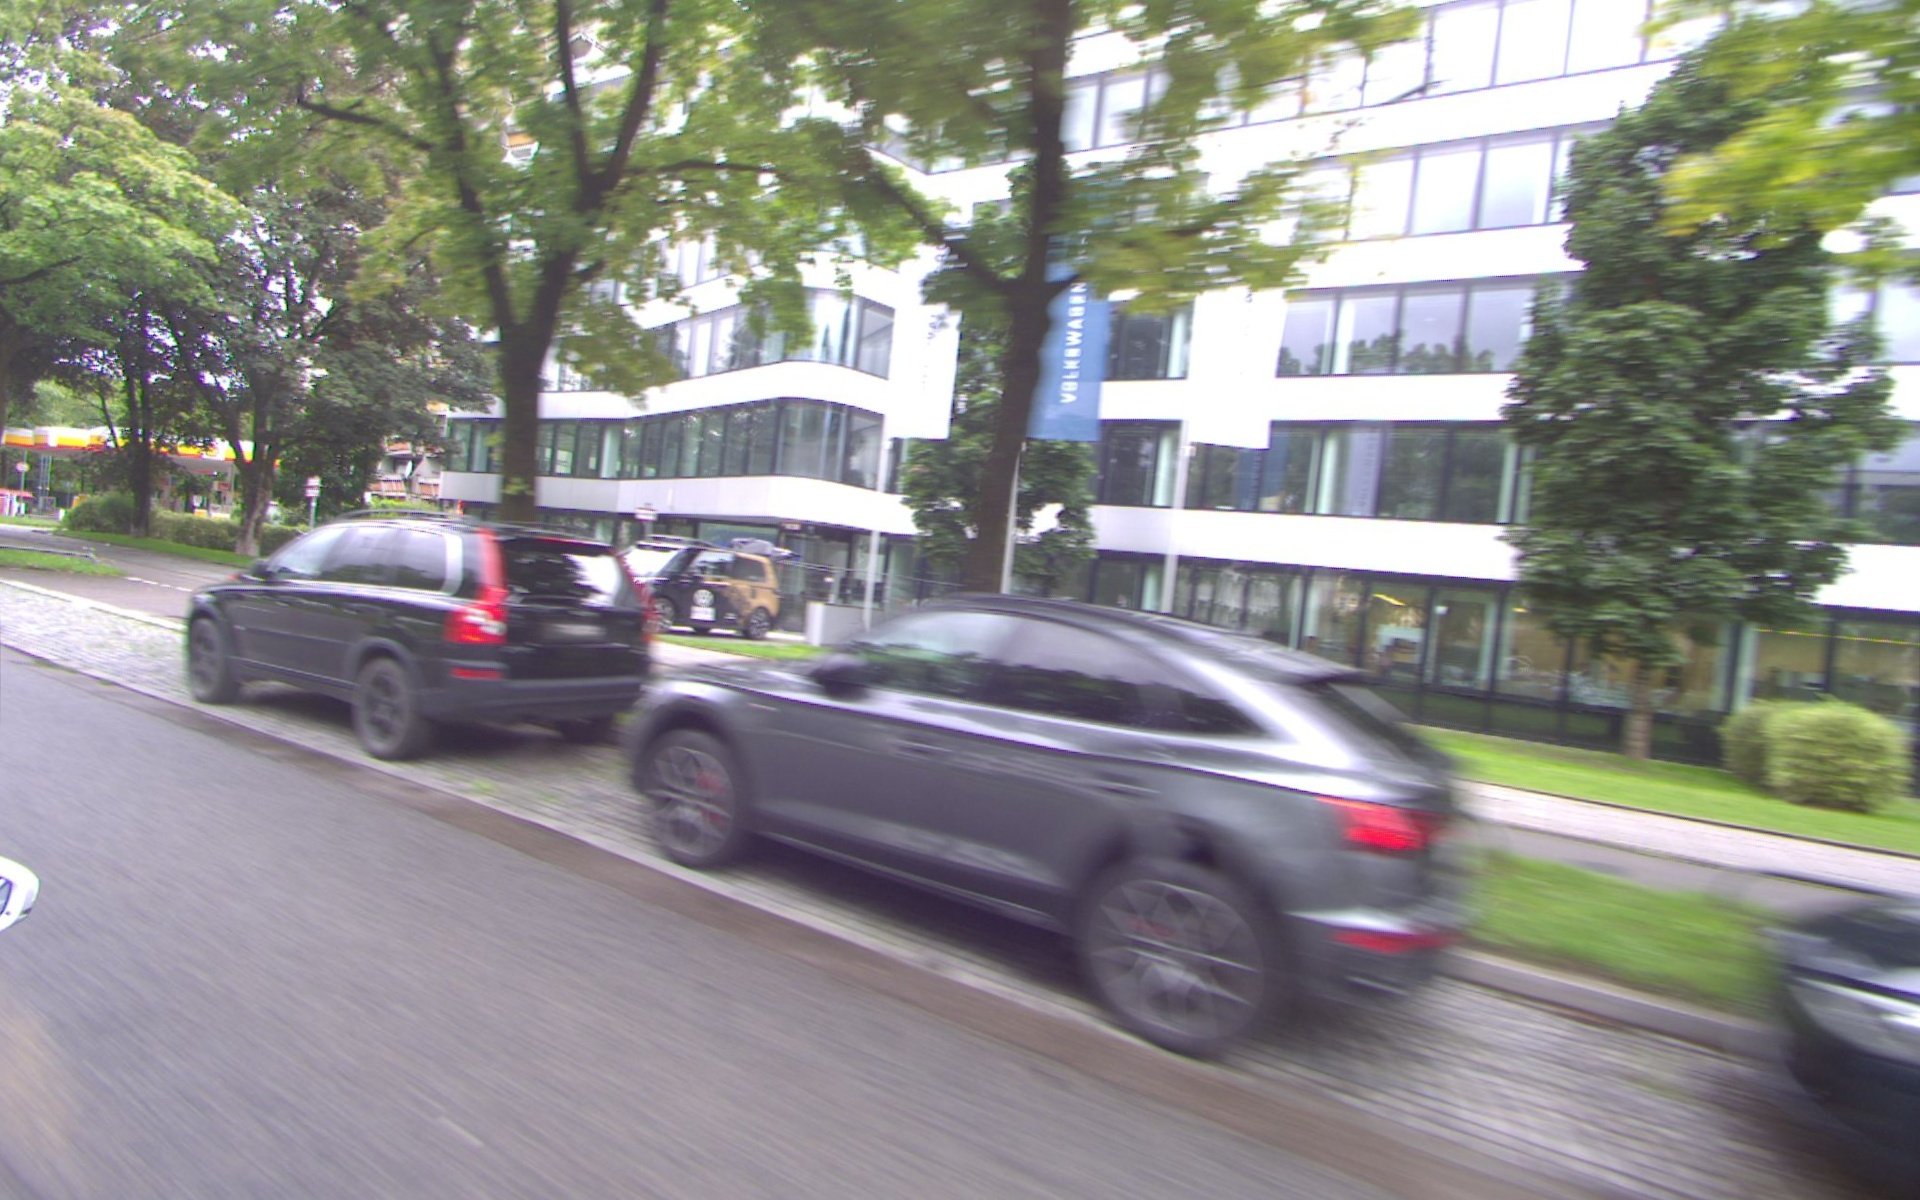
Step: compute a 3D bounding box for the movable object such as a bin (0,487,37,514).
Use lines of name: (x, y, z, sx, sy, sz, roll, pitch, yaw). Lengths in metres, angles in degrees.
movable object such as a bin: (-64.196, -6.768, 68.052, 1.807, 1.505, 2.062, 7, 1, 32)

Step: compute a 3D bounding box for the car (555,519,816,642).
car: (-5.821, -0.322, 22.204, 2.111, 2.109, 5.476, 7, 0, 31)

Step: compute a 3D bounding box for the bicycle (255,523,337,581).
bicycle: (-16.254, -1.185, 24.612, 2.209, 1.198, 0.749, 7, 1, 32)

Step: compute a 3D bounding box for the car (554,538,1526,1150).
car: (0.142, 0.768, 5.333, 4.722, 1.697, 1.813, 7, 1, 34)

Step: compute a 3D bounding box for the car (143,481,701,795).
car: (-4.664, 0.148, 8.484, 4.780, 1.823, 1.894, 7, 1, 31)

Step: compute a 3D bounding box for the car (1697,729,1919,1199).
car: (4.783, 1.466, 2.599, 4.440, 1.426, 1.702, 7, 1, 34)
